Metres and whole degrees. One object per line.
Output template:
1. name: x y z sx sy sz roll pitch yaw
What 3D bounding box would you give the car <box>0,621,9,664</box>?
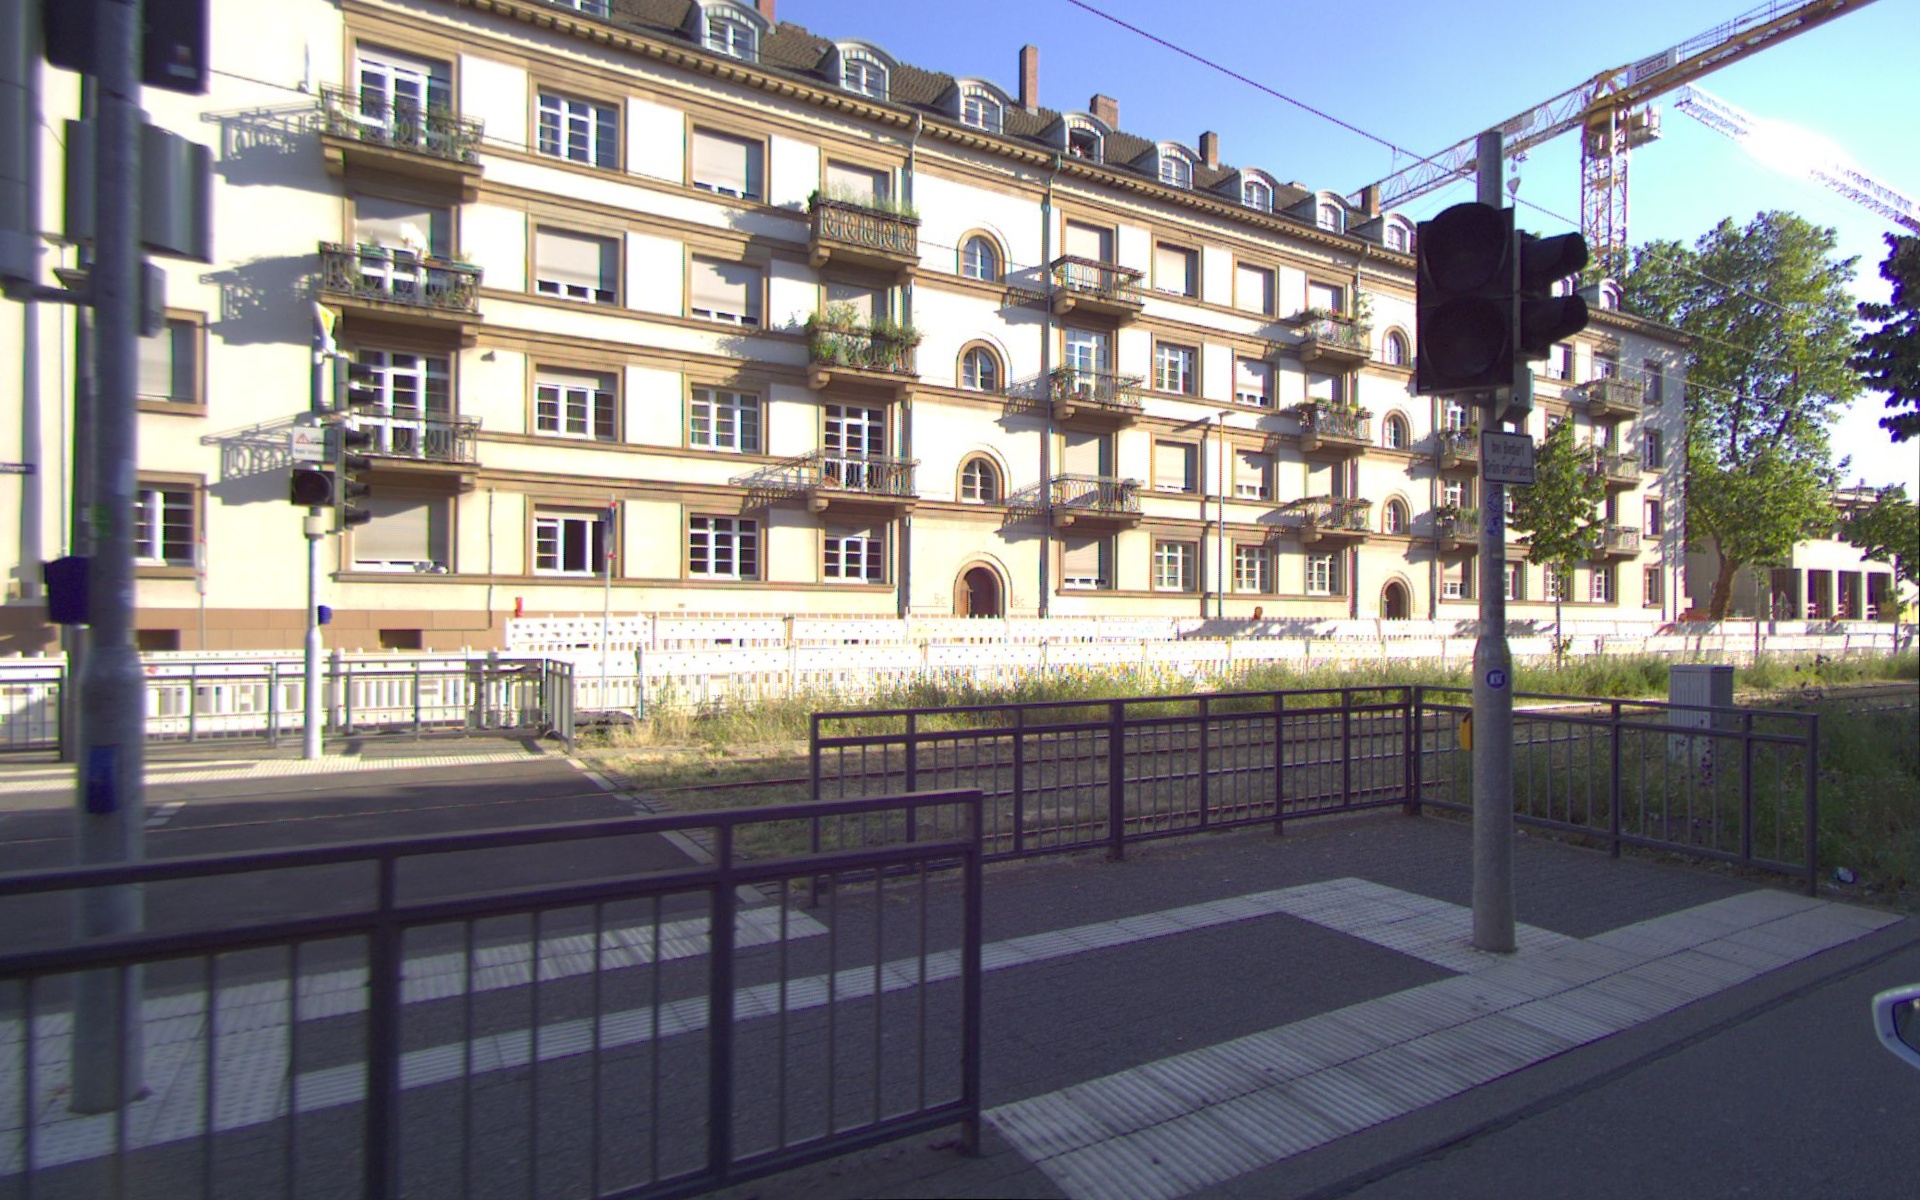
1. car: -35.732 1.501 34.666 3.961 1.521 1.825 0 -1 -36

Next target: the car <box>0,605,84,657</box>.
1. car: -29.711 0.946 30.367 4.666 1.521 1.825 0 -1 -36
